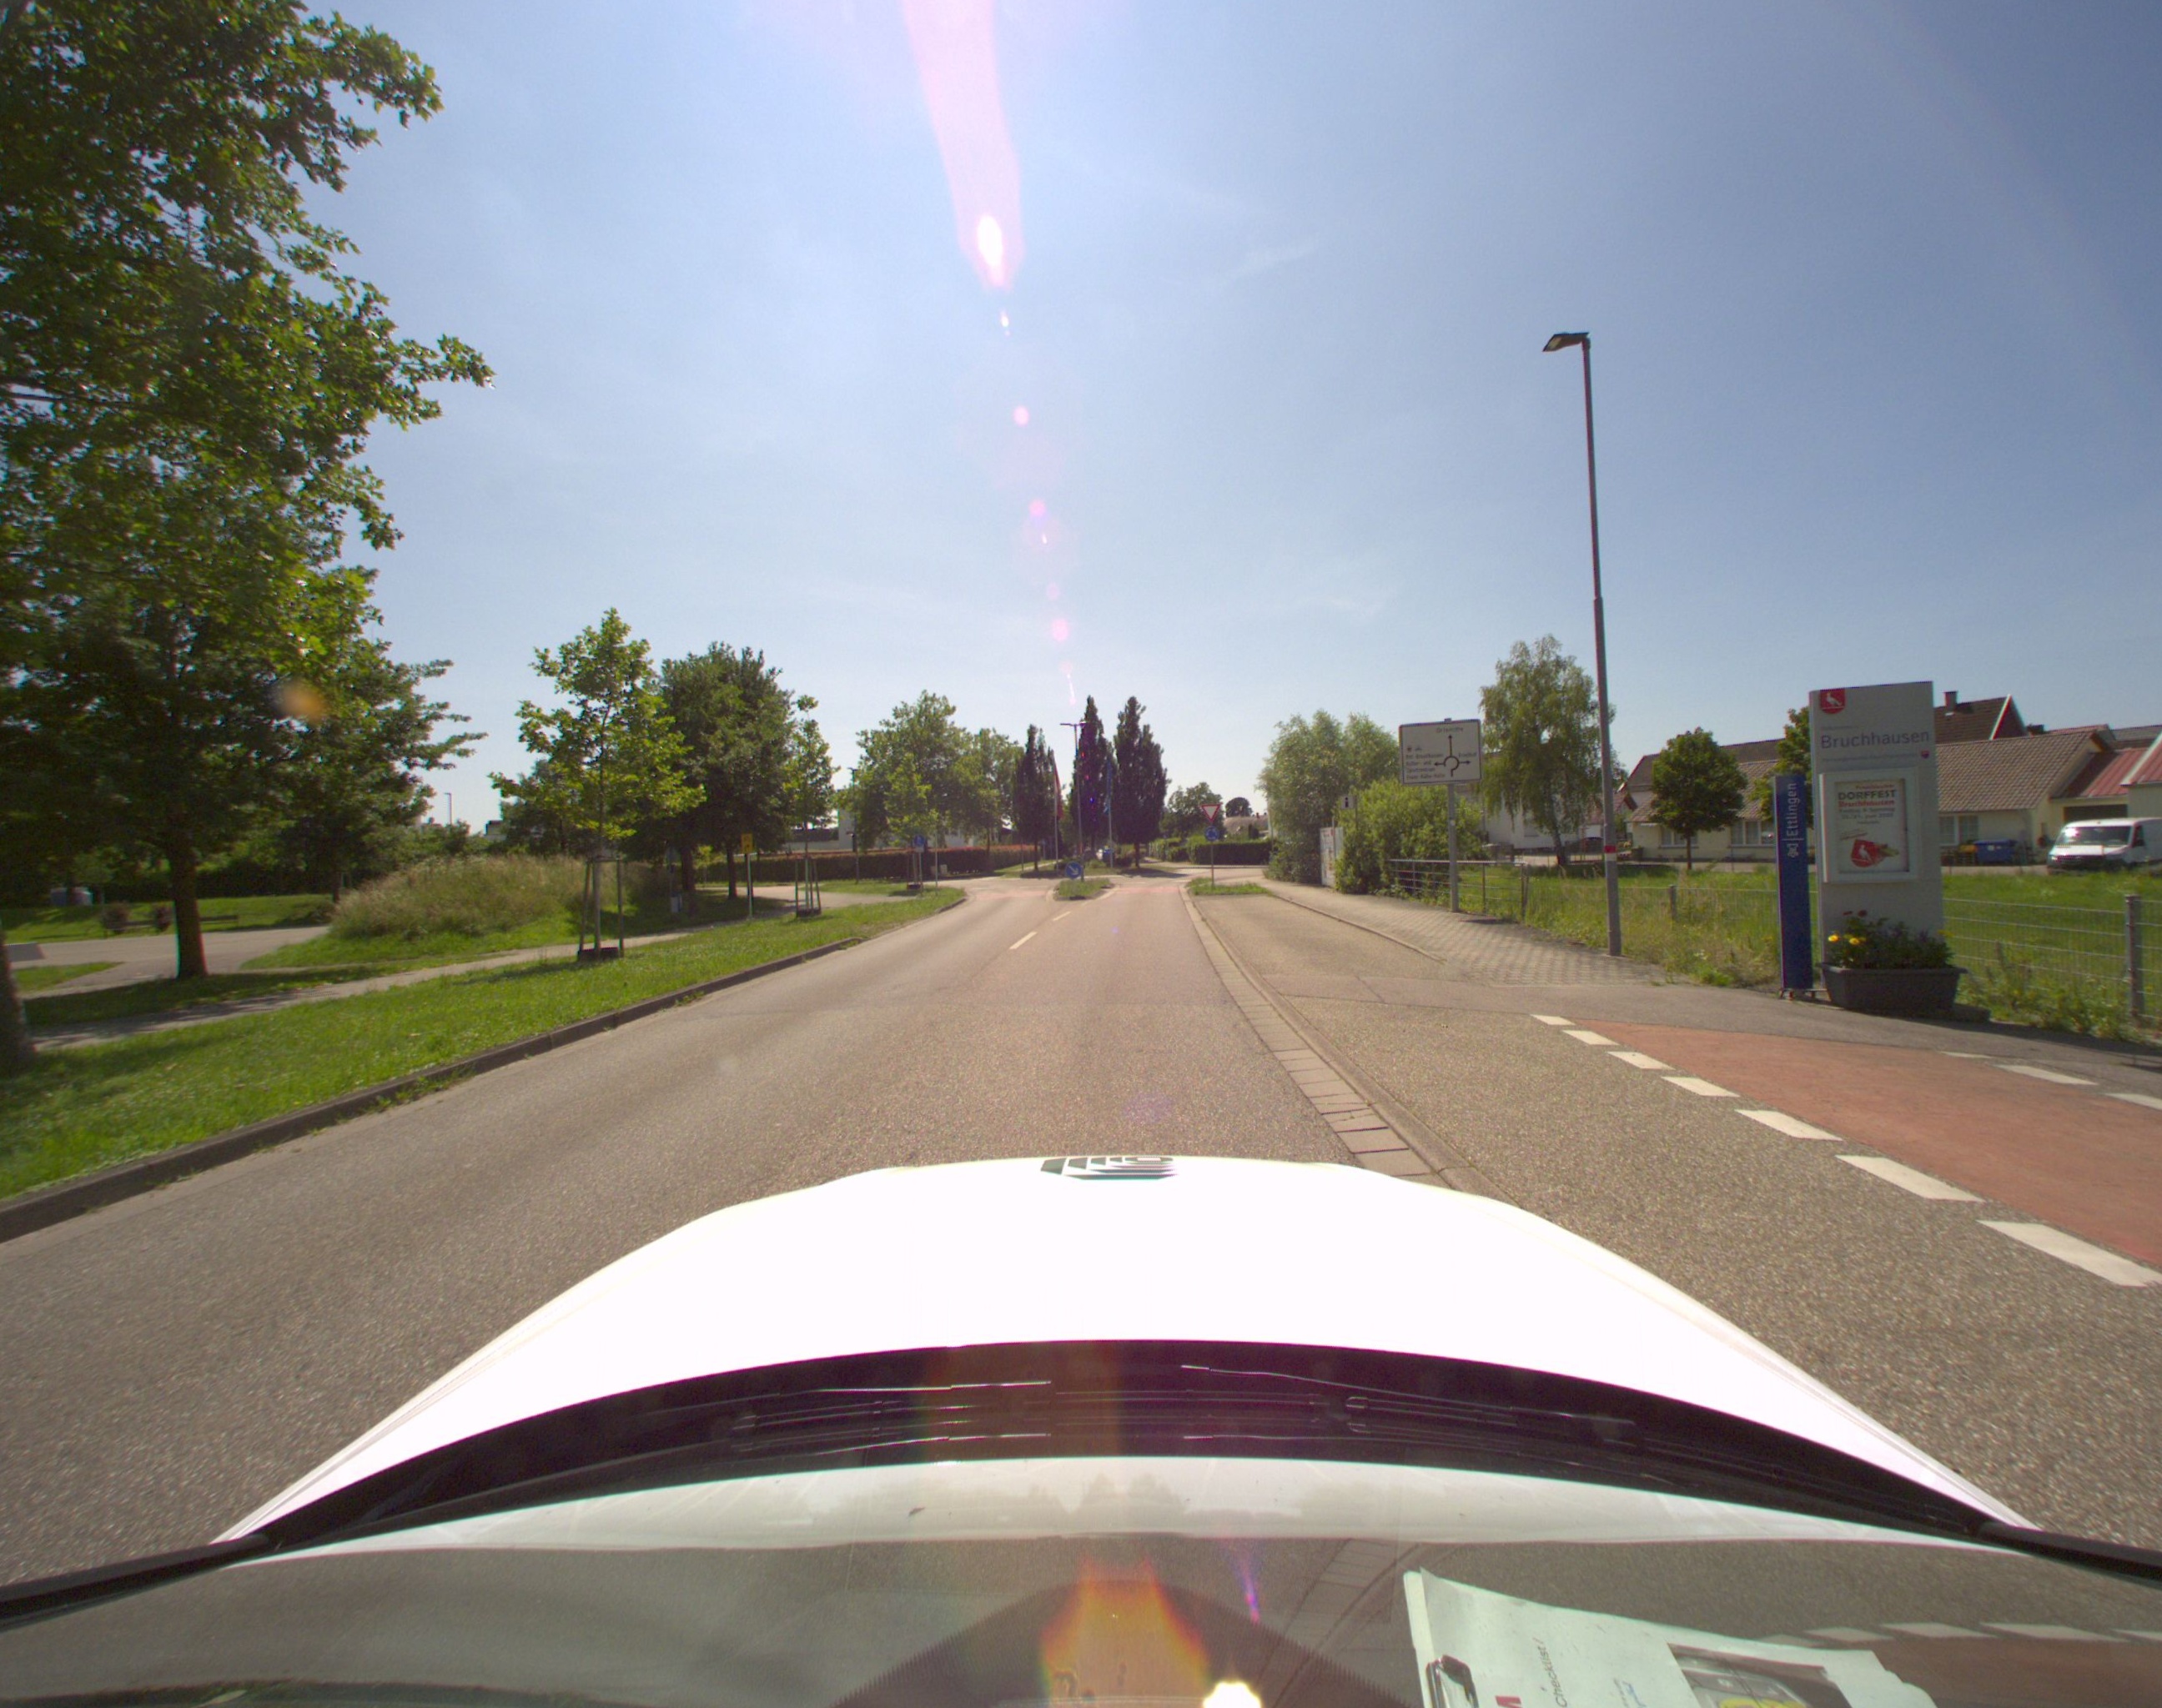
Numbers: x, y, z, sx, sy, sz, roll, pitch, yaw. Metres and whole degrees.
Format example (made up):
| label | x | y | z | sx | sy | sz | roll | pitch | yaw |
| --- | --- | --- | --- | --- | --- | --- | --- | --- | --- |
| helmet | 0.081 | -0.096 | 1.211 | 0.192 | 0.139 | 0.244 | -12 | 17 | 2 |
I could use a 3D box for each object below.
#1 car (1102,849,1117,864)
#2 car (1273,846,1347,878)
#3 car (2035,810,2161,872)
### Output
| label | x | y | z | sx | sy | sz | roll | pitch | yaw |
| --- | --- | --- | --- | --- | --- | --- | --- | --- | --- |
| car | 3.867 | 0.355 | 111.065 | 1.916 | 1.886 | 4.001 | -1 | 0 | 1 |
| car | 15.588 | 0.519 | 55.288 | 5.172 | 2.014 | 2.111 | -1 | 0 | -37 |
| car | 39.093 | -0.472 | 31.030 | 5.191 | 2.201 | 2.198 | -1 | 0 | -24 |
